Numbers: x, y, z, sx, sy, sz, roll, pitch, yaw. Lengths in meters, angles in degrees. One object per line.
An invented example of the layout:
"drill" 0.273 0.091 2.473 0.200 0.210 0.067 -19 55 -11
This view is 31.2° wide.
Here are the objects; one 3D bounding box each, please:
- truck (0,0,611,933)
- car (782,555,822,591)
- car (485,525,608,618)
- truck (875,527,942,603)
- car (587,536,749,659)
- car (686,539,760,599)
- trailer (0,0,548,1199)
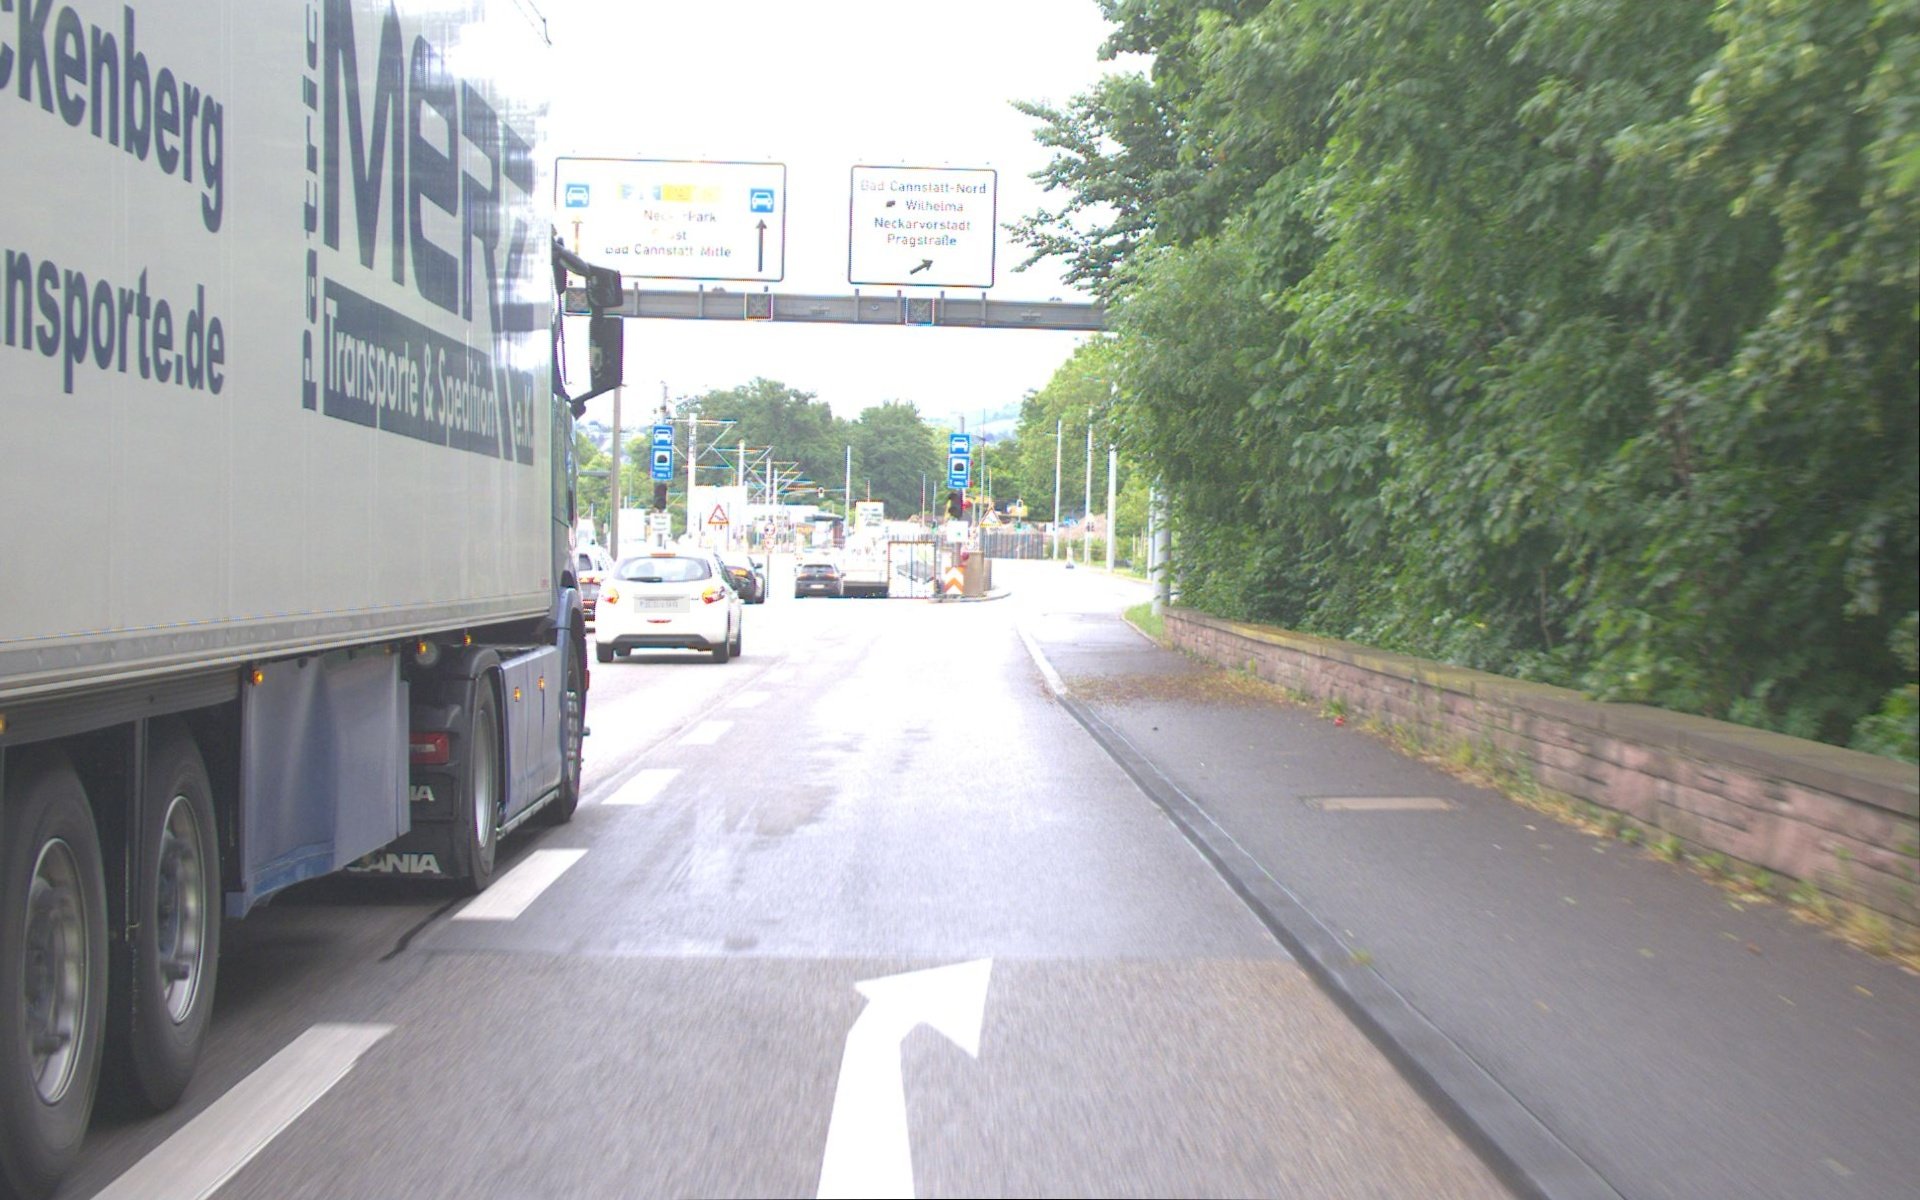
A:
"truck" -3.339 -0.867 16.457 2.756 4.190 6.307 0 1 -1
"car" -6.034 -1.049 131.691 1.426 1.349 2.960 1 1 -1
"car" -7.103 -0.520 59.351 1.681 1.441 4.001 0 3 -1
"truck" -2.767 -1.929 187.057 3.518 4.026 8.074 0 1 0
"car" -3.758 -0.066 44.788 1.810 1.419 4.001 0 3 -1
"car" -6.098 -0.810 88.786 1.690 1.503 3.768 0 1 -1
"trailer" -3.266 -0.756 9.572 2.762 4.238 13.184 0 1 -1
